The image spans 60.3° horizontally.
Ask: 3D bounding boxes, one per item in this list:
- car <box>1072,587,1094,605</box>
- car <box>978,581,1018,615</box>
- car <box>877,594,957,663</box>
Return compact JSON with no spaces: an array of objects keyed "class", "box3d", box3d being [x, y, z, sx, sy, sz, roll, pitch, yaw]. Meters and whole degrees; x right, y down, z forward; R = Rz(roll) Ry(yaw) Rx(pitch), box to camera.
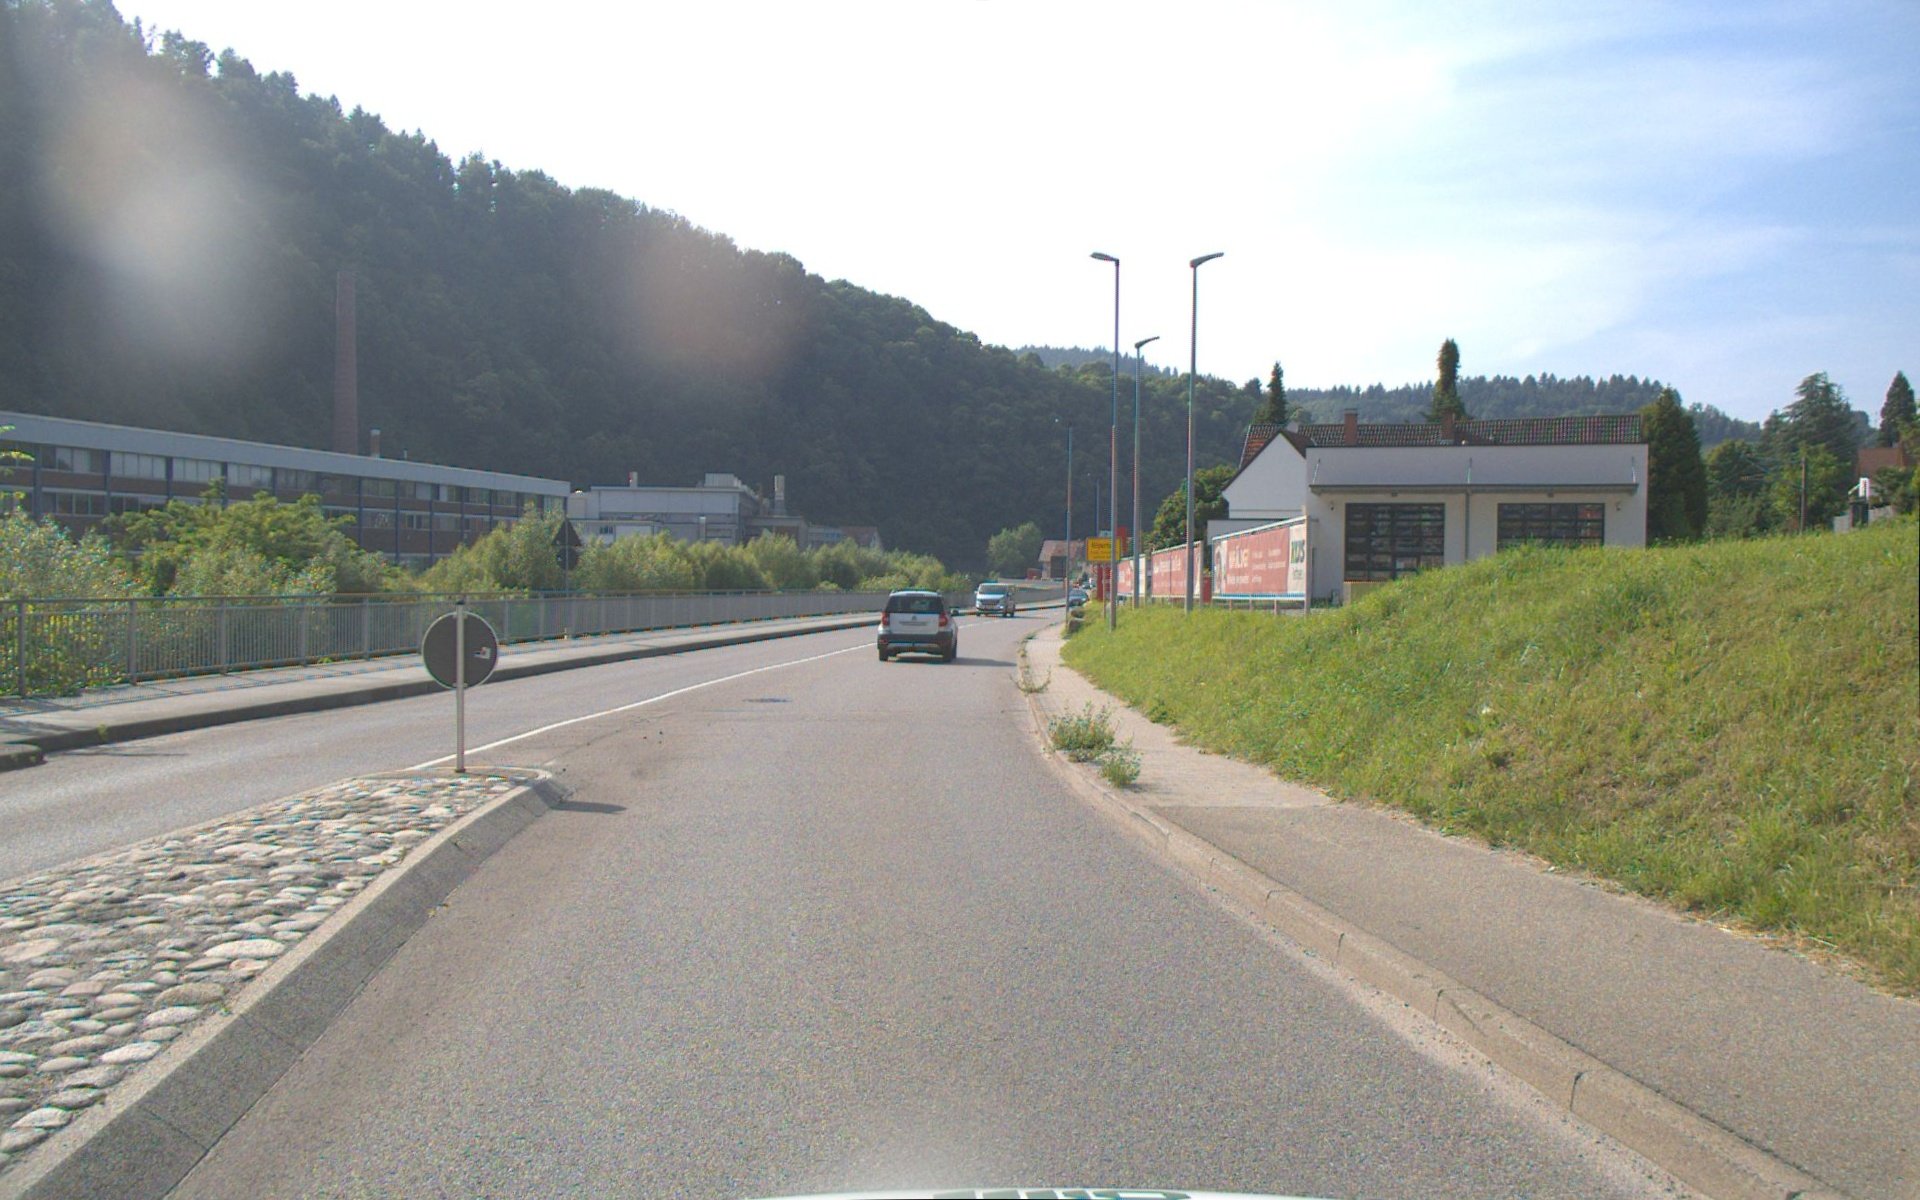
[{"class":"car","box3d":[10.755,-0.338,144.720,1.775,1.510,4.801,1,0,6]},{"class":"car","box3d":[2.315,-0.127,99.932,1.879,2.002,5.150,0,0,7]},{"class":"car","box3d":[-1.019,0.649,40.348,1.823,1.571,4.373,1,0,-1]}]
